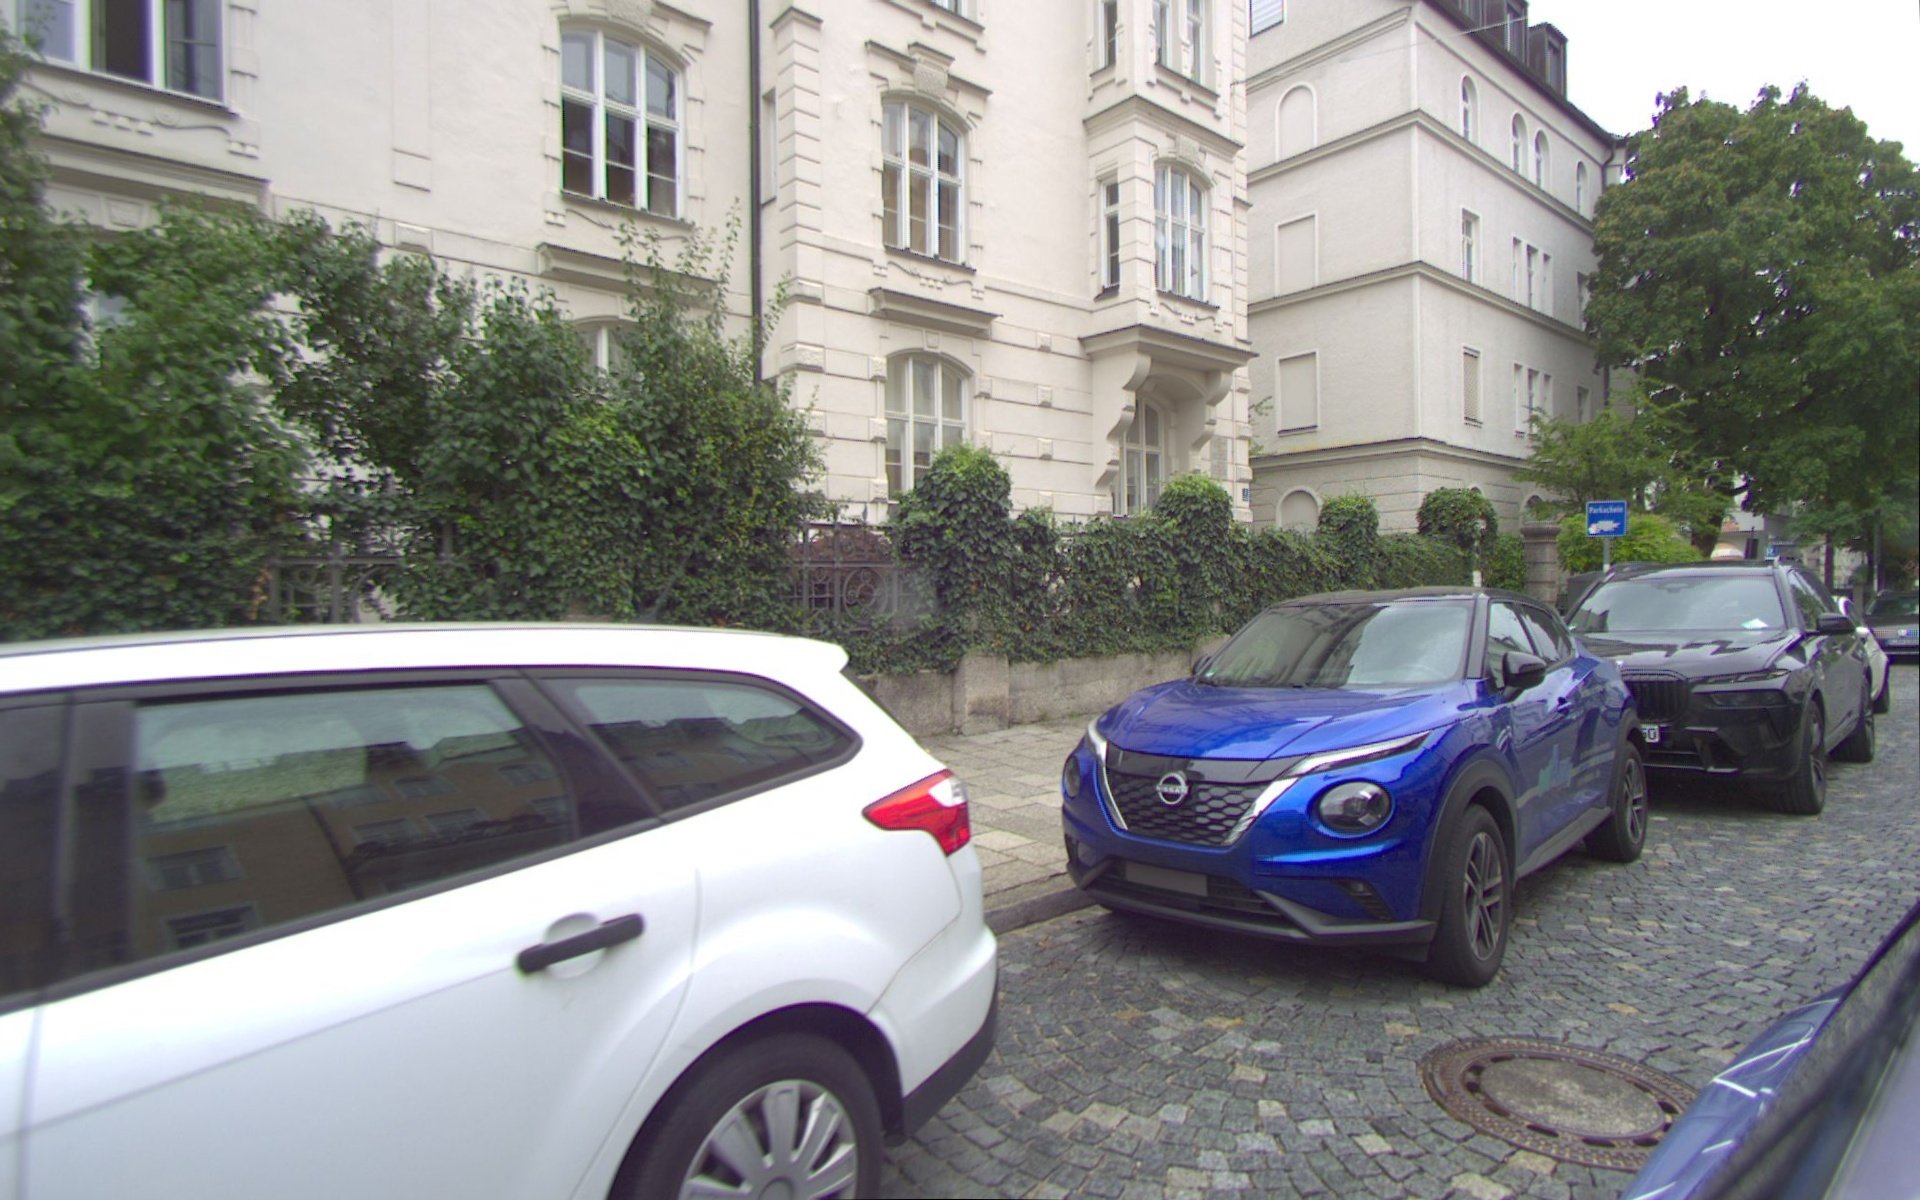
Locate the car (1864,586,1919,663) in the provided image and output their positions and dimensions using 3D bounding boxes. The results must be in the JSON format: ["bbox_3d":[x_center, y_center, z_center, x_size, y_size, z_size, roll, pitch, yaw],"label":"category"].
[{"bbox_3d":[20.602,0.430,21.413,4.554,1.440,1.649,-2,-3,-42],"label":"car"}]

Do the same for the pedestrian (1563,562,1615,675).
[{"bbox_3d":[10.411,0.299,16.766,0.624,1.831,0.654,-2,0,28],"label":"pedestrian"}]

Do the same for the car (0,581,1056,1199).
[{"bbox_3d":[-1.922,0.747,1.659,4.320,1.447,1.774,-2,0,-45],"label":"car"}]

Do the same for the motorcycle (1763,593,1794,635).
[{"bbox_3d":[22.561,0.365,27.892,1.378,1.104,0.363,-2,0,-39],"label":"motorcycle"}]

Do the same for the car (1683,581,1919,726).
[{"bbox_3d":[10.452,0.578,12.498,3.596,1.488,1.632,-2,-2,-41],"label":"car"}]

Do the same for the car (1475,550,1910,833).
[{"bbox_3d":[6.450,0.492,8.579,5.397,1.694,1.877,-2,0,-42],"label":"car"}]

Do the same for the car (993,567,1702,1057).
[{"bbox_3d":[2.268,0.650,5.203,4.179,1.501,1.710,-2,-2,-44],"label":"car"}]

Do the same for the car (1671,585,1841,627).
[{"bbox_3d":[28.542,0.200,36.426,1.726,1.375,4.484,-1,0,-33],"label":"car"}]

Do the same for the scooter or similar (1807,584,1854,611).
[{"bbox_3d":[38.887,-0.130,45.206,0.396,1.187,1.611,-2,1,-17],"label":"scooter or similar"}]

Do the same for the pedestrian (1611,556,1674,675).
[{"bbox_3d":[10.963,0.238,16.257,0.668,1.873,0.577,-1,0,-33],"label":"pedestrian"}]

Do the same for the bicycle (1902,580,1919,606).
[{"bbox_3d":[45.946,-0.341,48.826,1.700,1.212,0.429,-2,5,-40],"label":"bicycle"}]

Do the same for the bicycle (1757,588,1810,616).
[{"bbox_3d":[34.812,0.084,42.783,0.726,1.081,1.606,-5,5,-37],"label":"bicycle"}]
